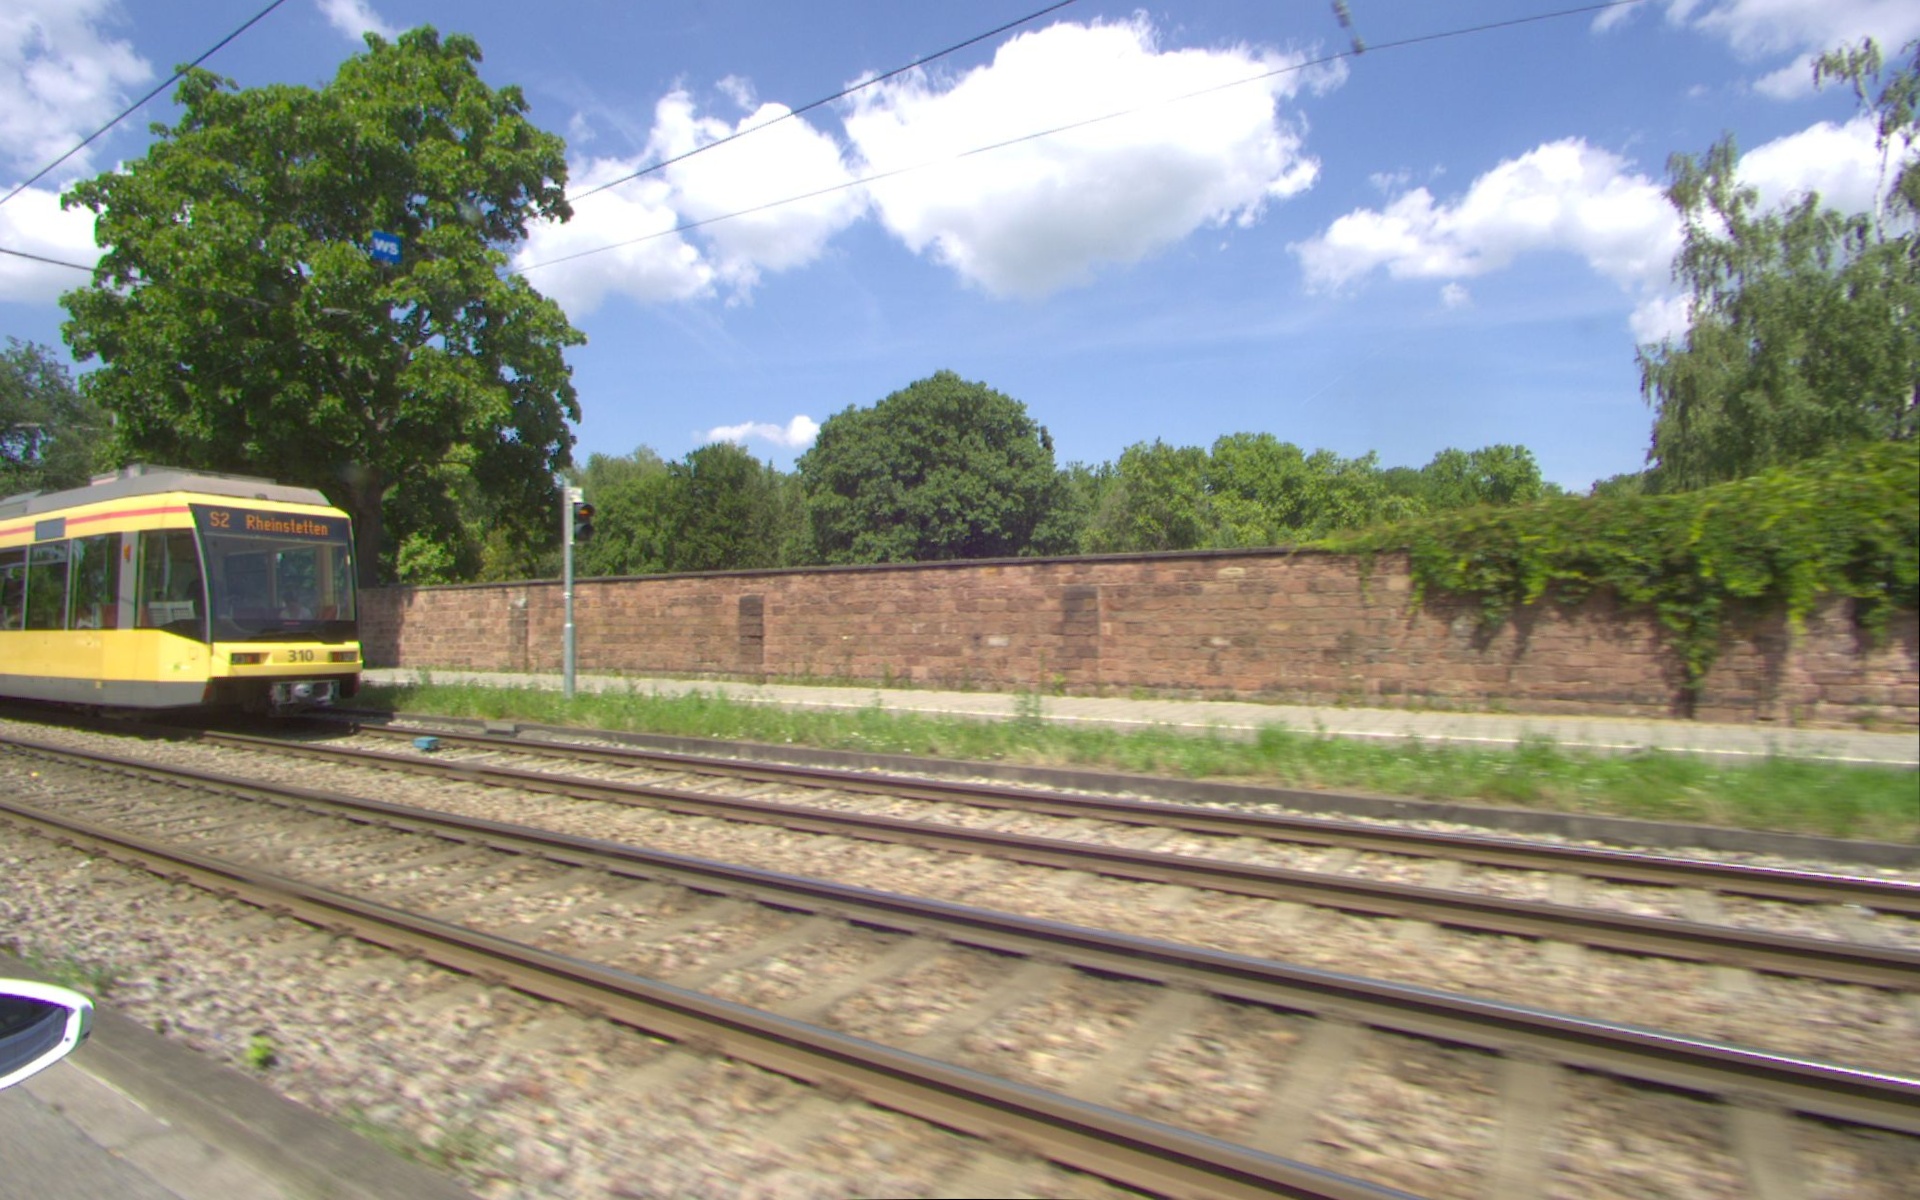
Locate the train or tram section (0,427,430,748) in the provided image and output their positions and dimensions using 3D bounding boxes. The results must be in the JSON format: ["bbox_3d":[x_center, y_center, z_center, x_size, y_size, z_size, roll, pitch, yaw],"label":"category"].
[{"bbox_3d":[-15.938,-0.046,17.818,18.126,3.739,2.938,0,-1,33],"label":"train or tram section"}]

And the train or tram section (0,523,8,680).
[{"bbox_3d":[-32.126,0.045,27.696,19.979,3.739,2.940,0,-1,30],"label":"train or tram section"}]
